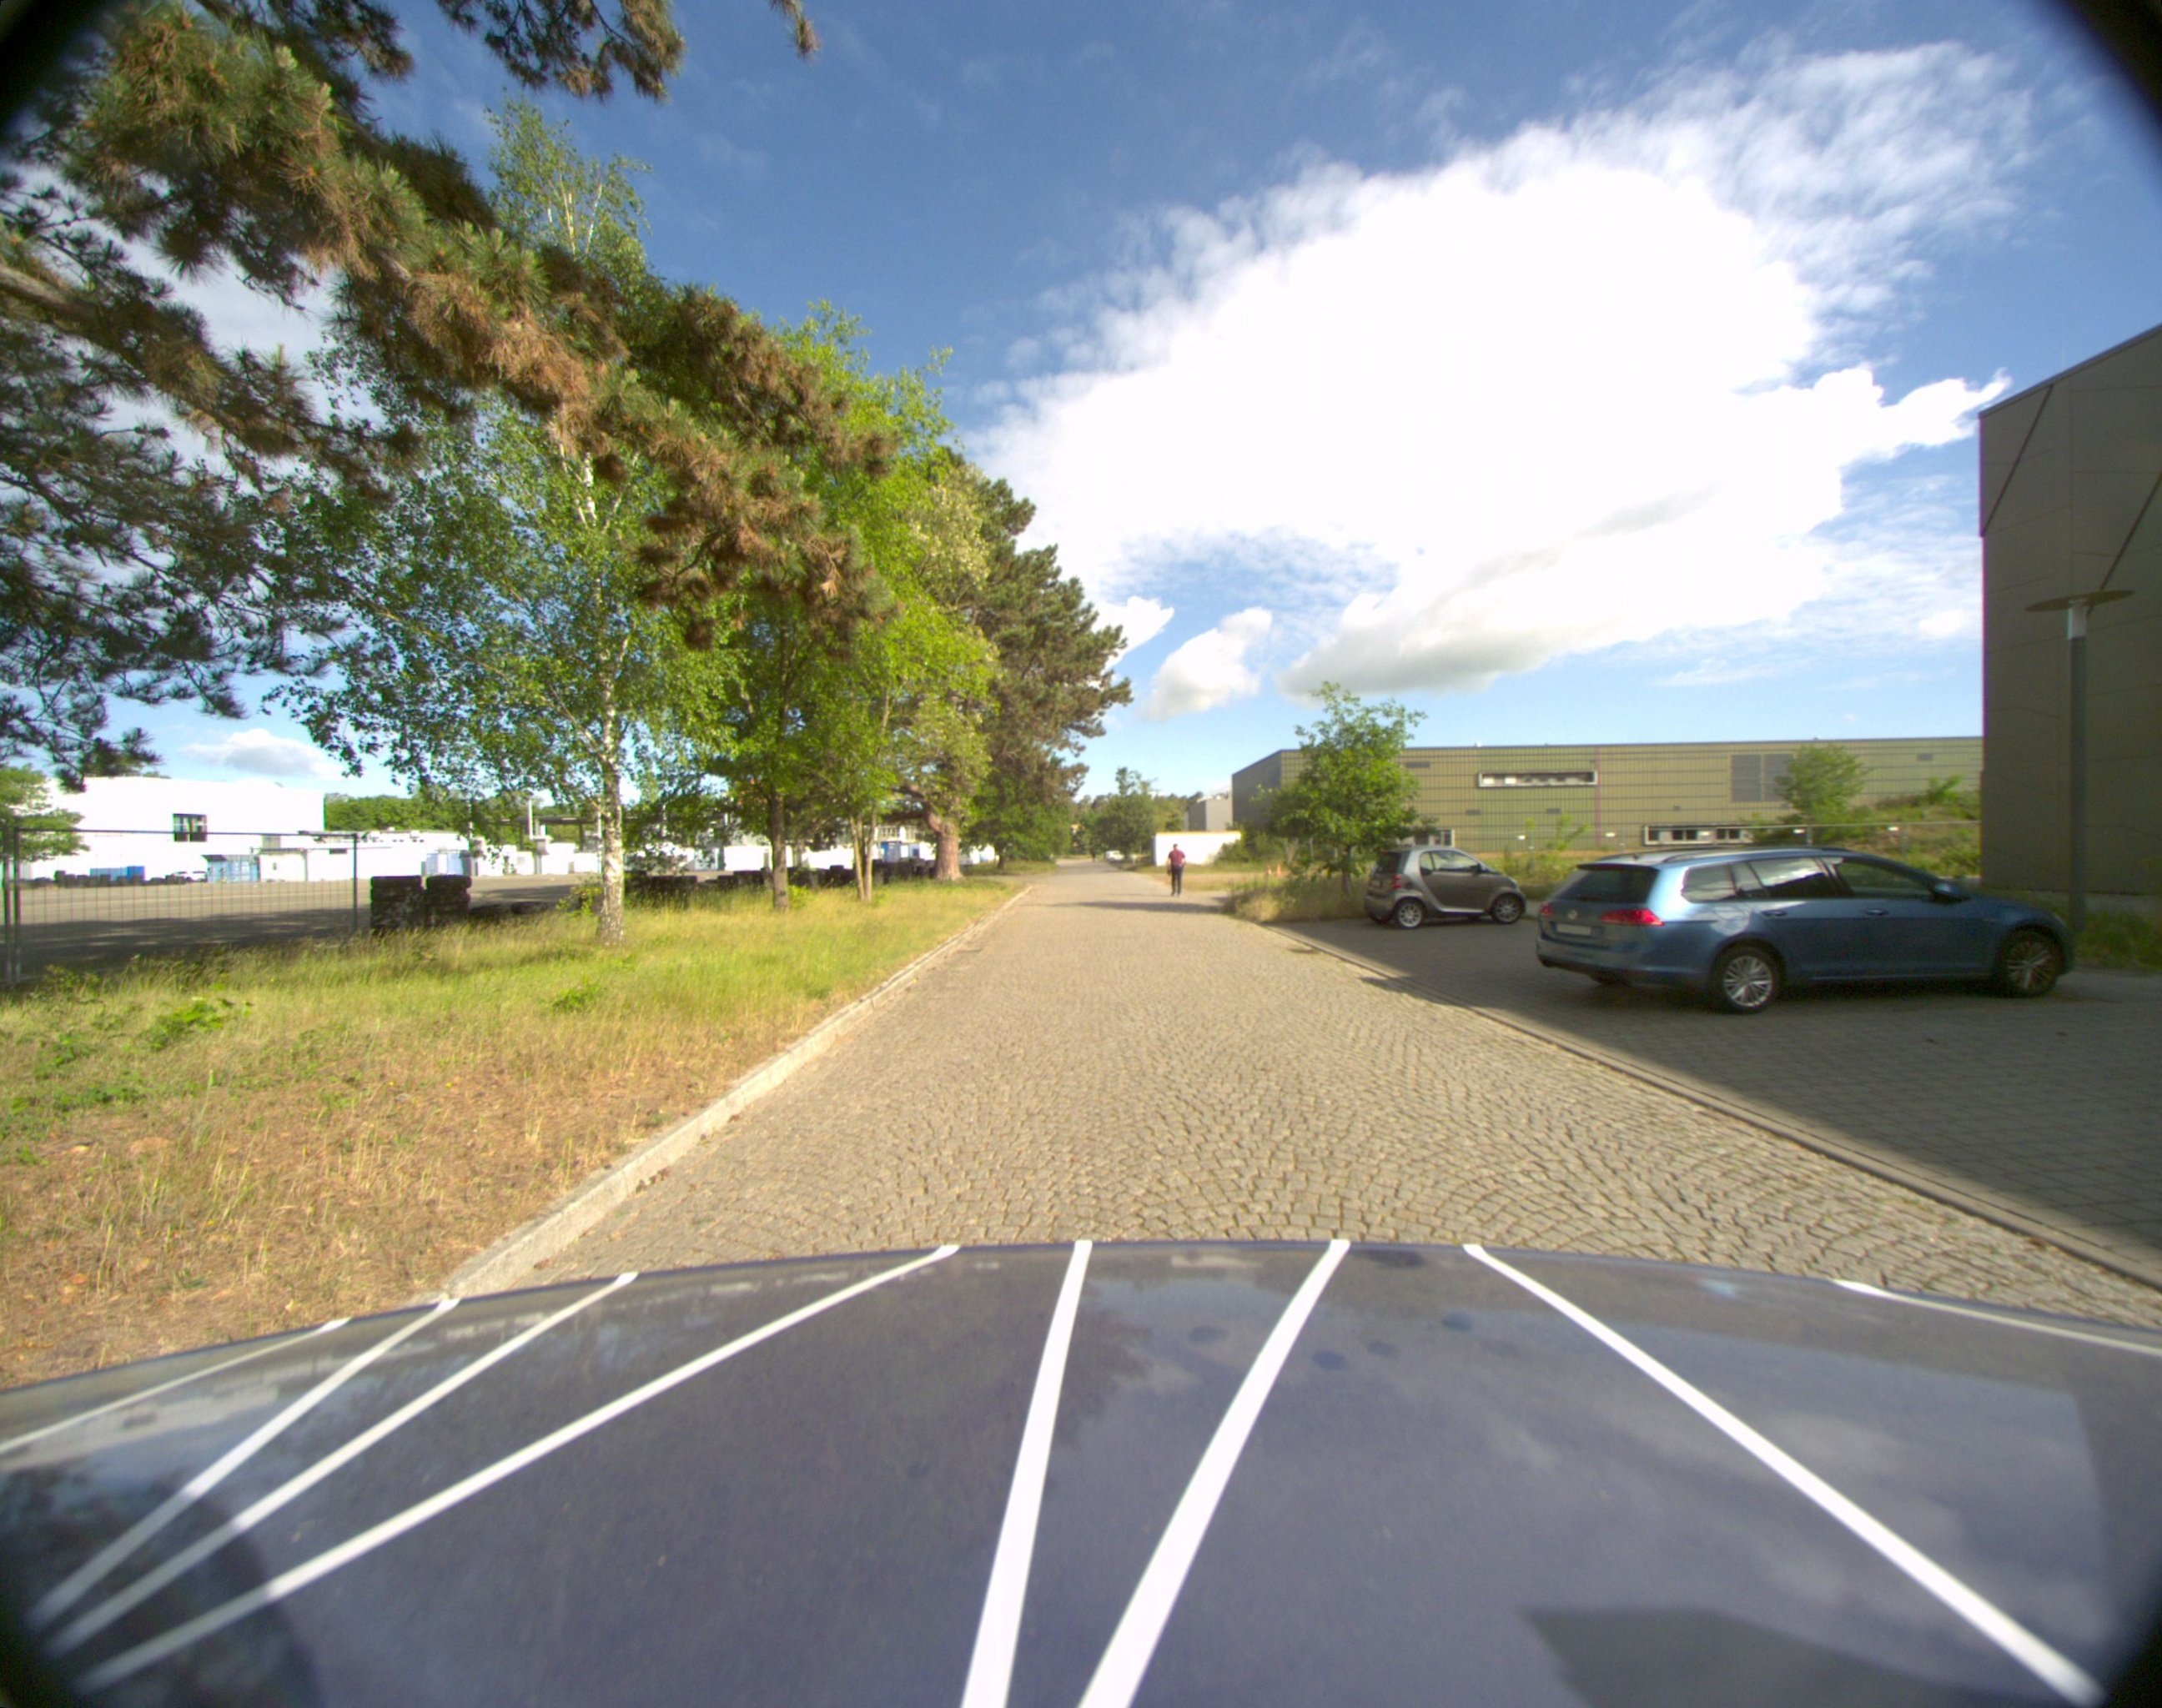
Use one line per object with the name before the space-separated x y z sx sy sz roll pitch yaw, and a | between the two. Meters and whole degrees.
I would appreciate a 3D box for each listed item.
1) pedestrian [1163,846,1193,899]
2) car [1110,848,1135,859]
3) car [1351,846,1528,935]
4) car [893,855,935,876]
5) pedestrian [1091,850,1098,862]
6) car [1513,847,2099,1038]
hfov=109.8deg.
pedestrian | 3.302 0.624 25.972 0.806 1.761 1.152 -1 1 -4
car | 6.626 -0.156 122.215 3.996 1.678 2.000 -1 1 3
car | 6.958 0.676 14.922 2.706 1.533 1.518 -3 1 -1
car | -12.337 0.836 56.481 1.846 1.440 4.001 -1 1 6
pedestrian | 2.054 0.287 114.262 0.908 1.797 0.983 -1 1 -7
car | 6.908 0.768 7.536 4.268 1.455 1.680 -3 1 -2
